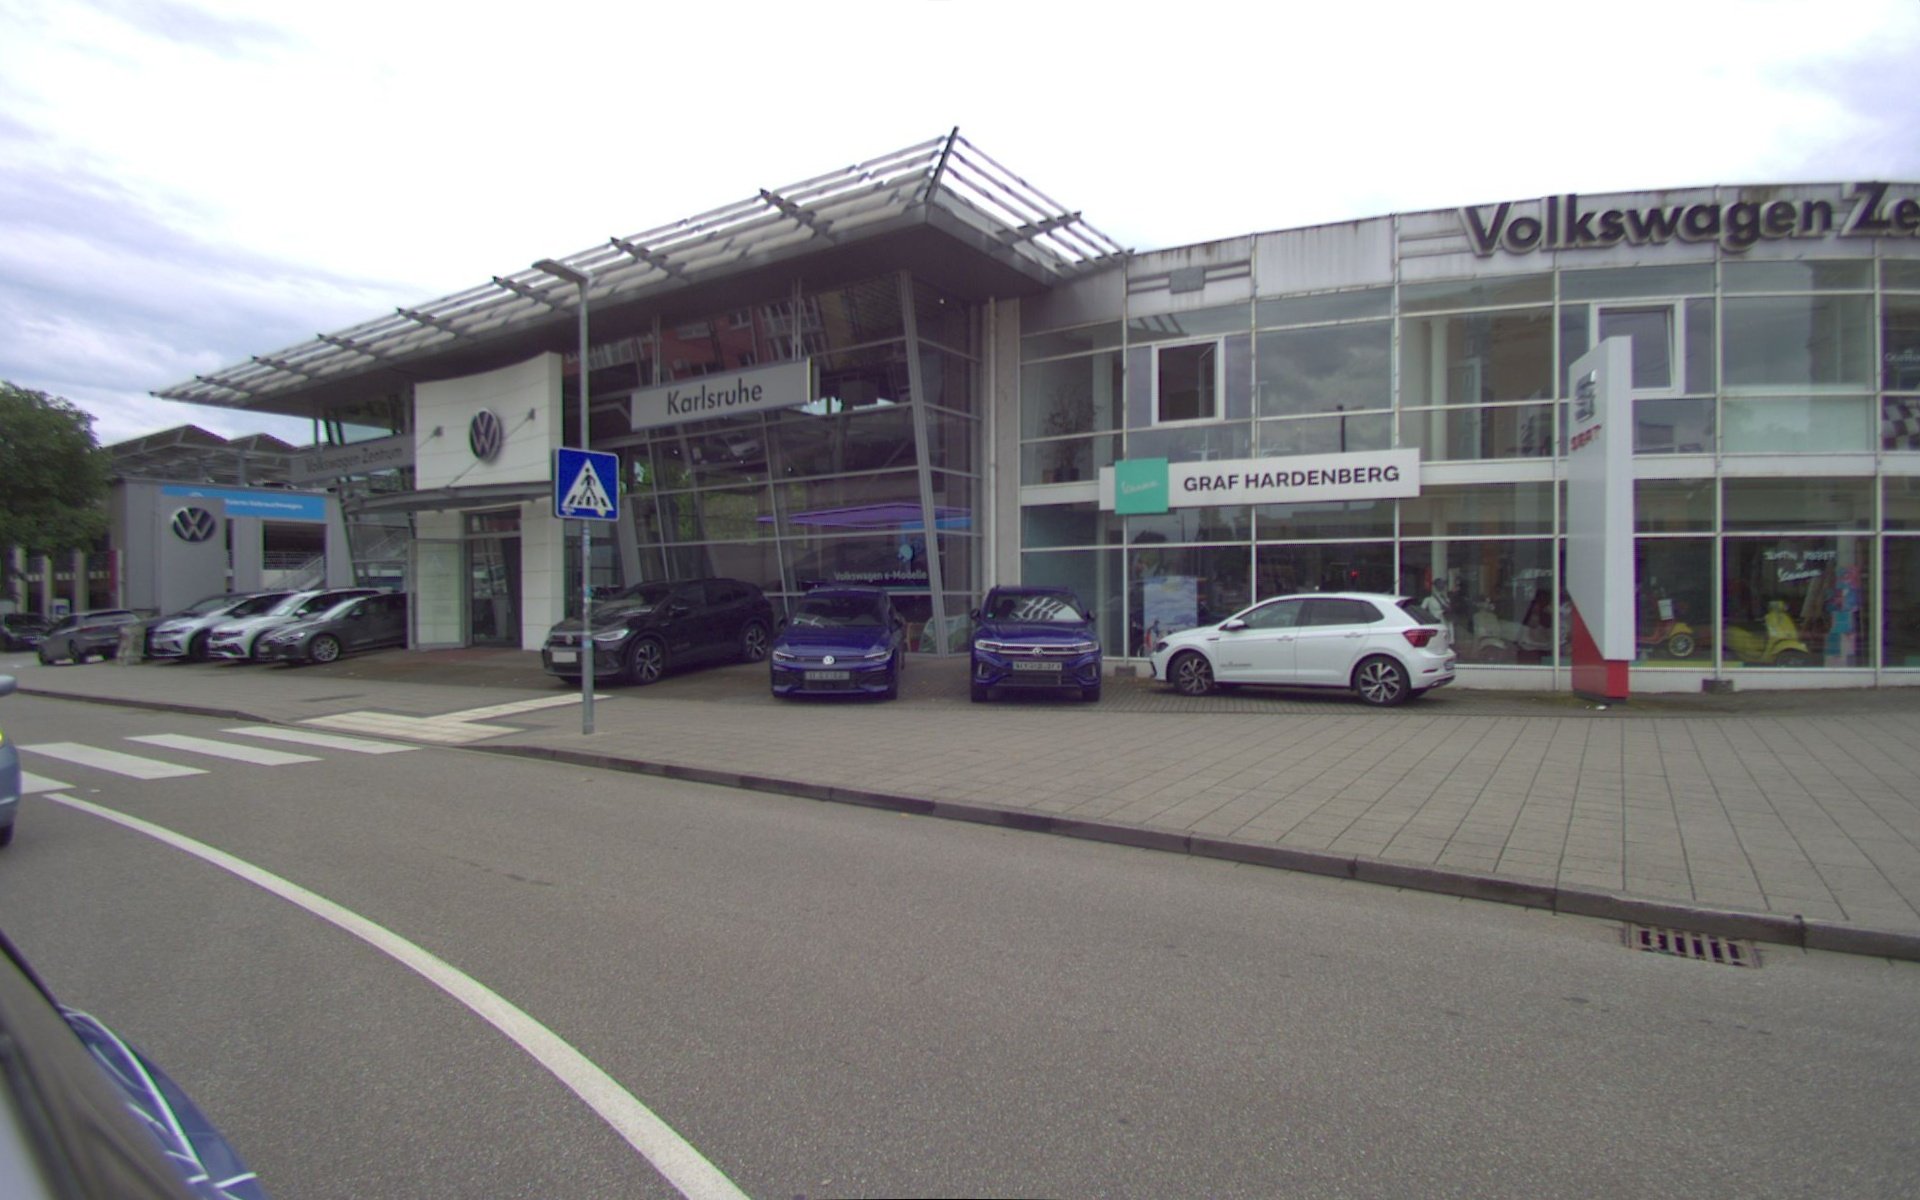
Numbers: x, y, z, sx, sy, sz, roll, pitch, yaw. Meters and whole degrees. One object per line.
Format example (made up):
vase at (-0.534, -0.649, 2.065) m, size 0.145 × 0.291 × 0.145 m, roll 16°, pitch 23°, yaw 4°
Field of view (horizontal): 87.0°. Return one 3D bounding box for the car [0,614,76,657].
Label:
car at (-37.014, 1.345, 39.991) m, size 4.460 × 1.559 × 1.879 m, roll 0°, pitch 1°, yaw 32°

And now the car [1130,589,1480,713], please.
car at (4.665, 0.637, 13.984) m, size 4.255 × 1.463 × 1.761 m, roll -1°, pitch -1°, yaw 37°

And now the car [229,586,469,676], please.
car at (-14.334, 0.658, 24.016) m, size 1.892 × 1.709 × 4.427 m, roll -2°, pitch 3°, yaw 33°

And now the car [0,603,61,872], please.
car at (-7.349, 0.806, 6.214) m, size 4.086 × 1.478 × 1.735 m, roll -1°, pitch 1°, yaw 34°

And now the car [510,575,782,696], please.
car at (-5.233, 0.515, 17.542) m, size 1.852 × 1.644 × 4.468 m, roll -2°, pitch 2°, yaw 27°

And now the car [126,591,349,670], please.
car at (-19.196, 0.749, 27.094) m, size 1.865 × 1.712 × 4.426 m, roll -2°, pitch 3°, yaw 34°

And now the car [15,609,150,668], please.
car at (-26.051, 1.125, 30.023) m, size 4.000 × 1.575 × 1.899 m, roll -2°, pitch 0°, yaw 32°

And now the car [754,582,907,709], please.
car at (-1.791, 0.550, 15.240) m, size 1.832 × 1.515 × 4.341 m, roll -1°, pitch 2°, yaw -1°

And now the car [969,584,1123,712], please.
car at (1.083, 0.585, 14.652) m, size 1.875 × 1.574 × 4.220 m, roll -1°, pitch 0°, yaw 0°

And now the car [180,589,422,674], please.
car at (-16.520, 0.716, 25.644) m, size 1.856 × 1.712 × 4.723 m, roll -2°, pitch 3°, yaw 33°
